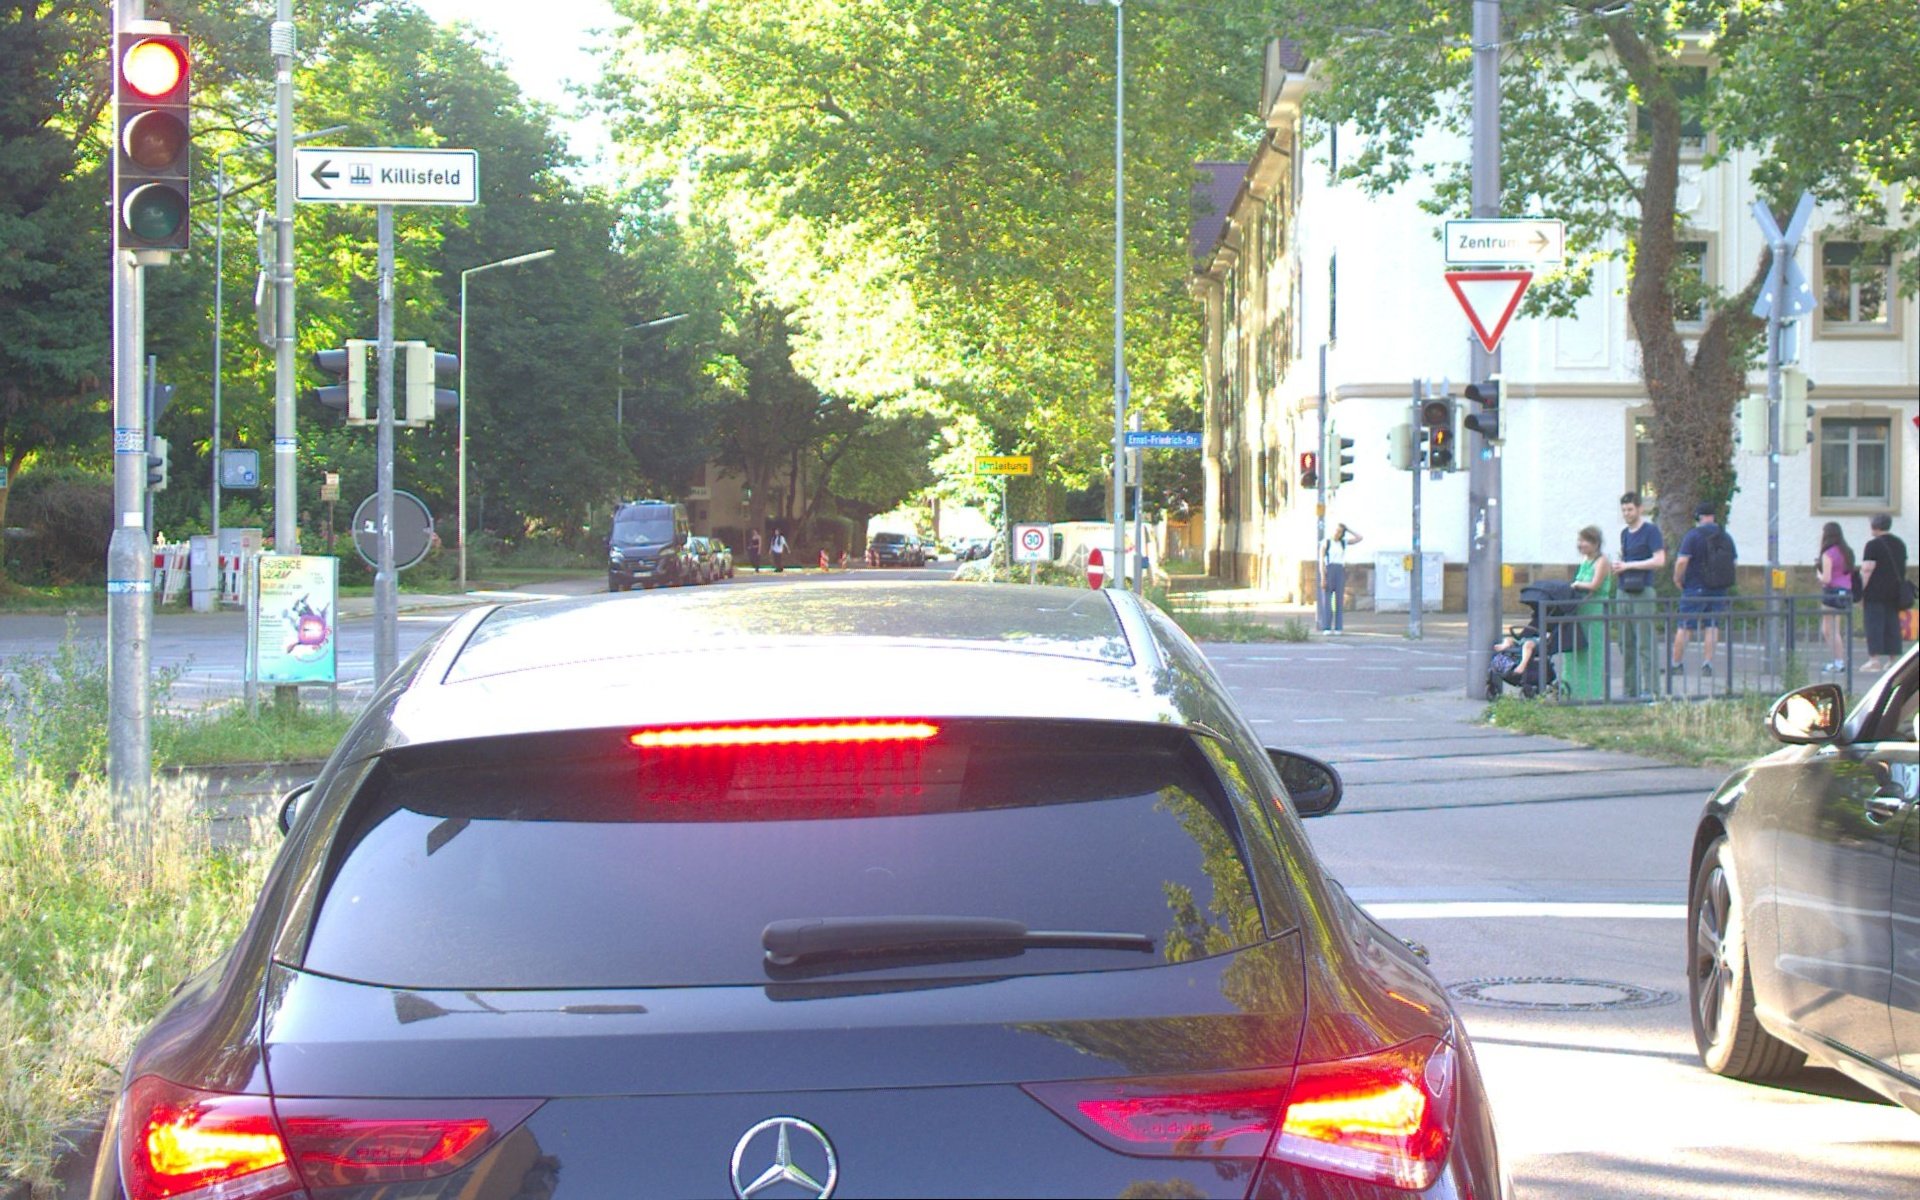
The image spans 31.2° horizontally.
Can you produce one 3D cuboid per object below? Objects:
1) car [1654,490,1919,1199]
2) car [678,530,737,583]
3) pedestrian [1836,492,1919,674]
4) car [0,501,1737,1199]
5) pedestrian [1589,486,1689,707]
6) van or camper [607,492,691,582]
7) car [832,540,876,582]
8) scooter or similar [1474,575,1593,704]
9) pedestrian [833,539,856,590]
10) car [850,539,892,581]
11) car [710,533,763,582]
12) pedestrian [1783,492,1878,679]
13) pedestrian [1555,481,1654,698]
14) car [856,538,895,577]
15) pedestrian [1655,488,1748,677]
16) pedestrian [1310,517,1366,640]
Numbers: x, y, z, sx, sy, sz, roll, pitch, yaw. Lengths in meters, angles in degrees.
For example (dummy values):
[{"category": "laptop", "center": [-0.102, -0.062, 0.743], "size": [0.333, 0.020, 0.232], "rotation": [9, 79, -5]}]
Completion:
[{"category": "car", "center": [2.878, 0.568, 7.315], "size": [1.889, 1.485, 4.382], "rotation": [1, 3, 0]}, {"category": "car", "center": [-8.614, -1.484, 117.573], "size": [1.733, 1.759, 4.085], "rotation": [1, 1, -1]}, {"category": "pedestrian", "center": [9.836, -0.180, 36.675], "size": [0.705, 1.911, 0.839], "rotation": [1, 0, -4]}, {"category": "car", "center": [-0.169, 0.630, 5.401], "size": [1.889, 1.445, 4.001], "rotation": [1, 3, 1]}, {"category": "pedestrian", "center": [5.945, -0.034, 30.124], "size": [0.682, 1.911, 0.707], "rotation": [1, 0, -2]}, {"category": "van or camper", "center": [-8.991, -1.806, 99.743], "size": [1.993, 2.532, 4.651], "rotation": [1, 1, 0]}, {"category": "car", "center": [-4.479, -1.649, 145.568], "size": [1.733, 1.759, 4.019], "rotation": [1, 1, -1]}, {"category": "scooter or similar", "center": [5.011, 0.340, 30.093], "size": [0.828, 1.101, 0.809], "rotation": [1, 0, -6]}, {"category": "pedestrian", "center": [-4.364, -1.326, 130.032], "size": [0.705, 1.911, 0.839], "rotation": [1, 0, -10]}, {"category": "car", "center": [-3.876, -1.749, 150.388], "size": [1.733, 1.759, 4.019], "rotation": [1, 1, -1]}, {"category": "car", "center": [-8.199, -1.567, 126.405], "size": [1.733, 1.759, 3.971], "rotation": [1, 1, -1]}, {"category": "pedestrian", "center": [9.025, -0.151, 35.675], "size": [0.705, 1.911, 0.839], "rotation": [1, 0, -4]}, {"category": "pedestrian", "center": [5.787, -0.097, 30.896], "size": [0.682, 1.911, 0.707], "rotation": [1, 0, -4]}, {"category": "car", "center": [-3.898, -1.972, 158.471], "size": [1.733, 1.759, 4.019], "rotation": [1, 1, -1]}, {"category": "pedestrian", "center": [7.613, -0.180, 35.319], "size": [0.705, 1.911, 0.839], "rotation": [1, 0, -4]}, {"category": "pedestrian", "center": [5.947, -0.337, 54.077], "size": [0.705, 1.911, 0.839], "rotation": [1, 0, -4]}]
